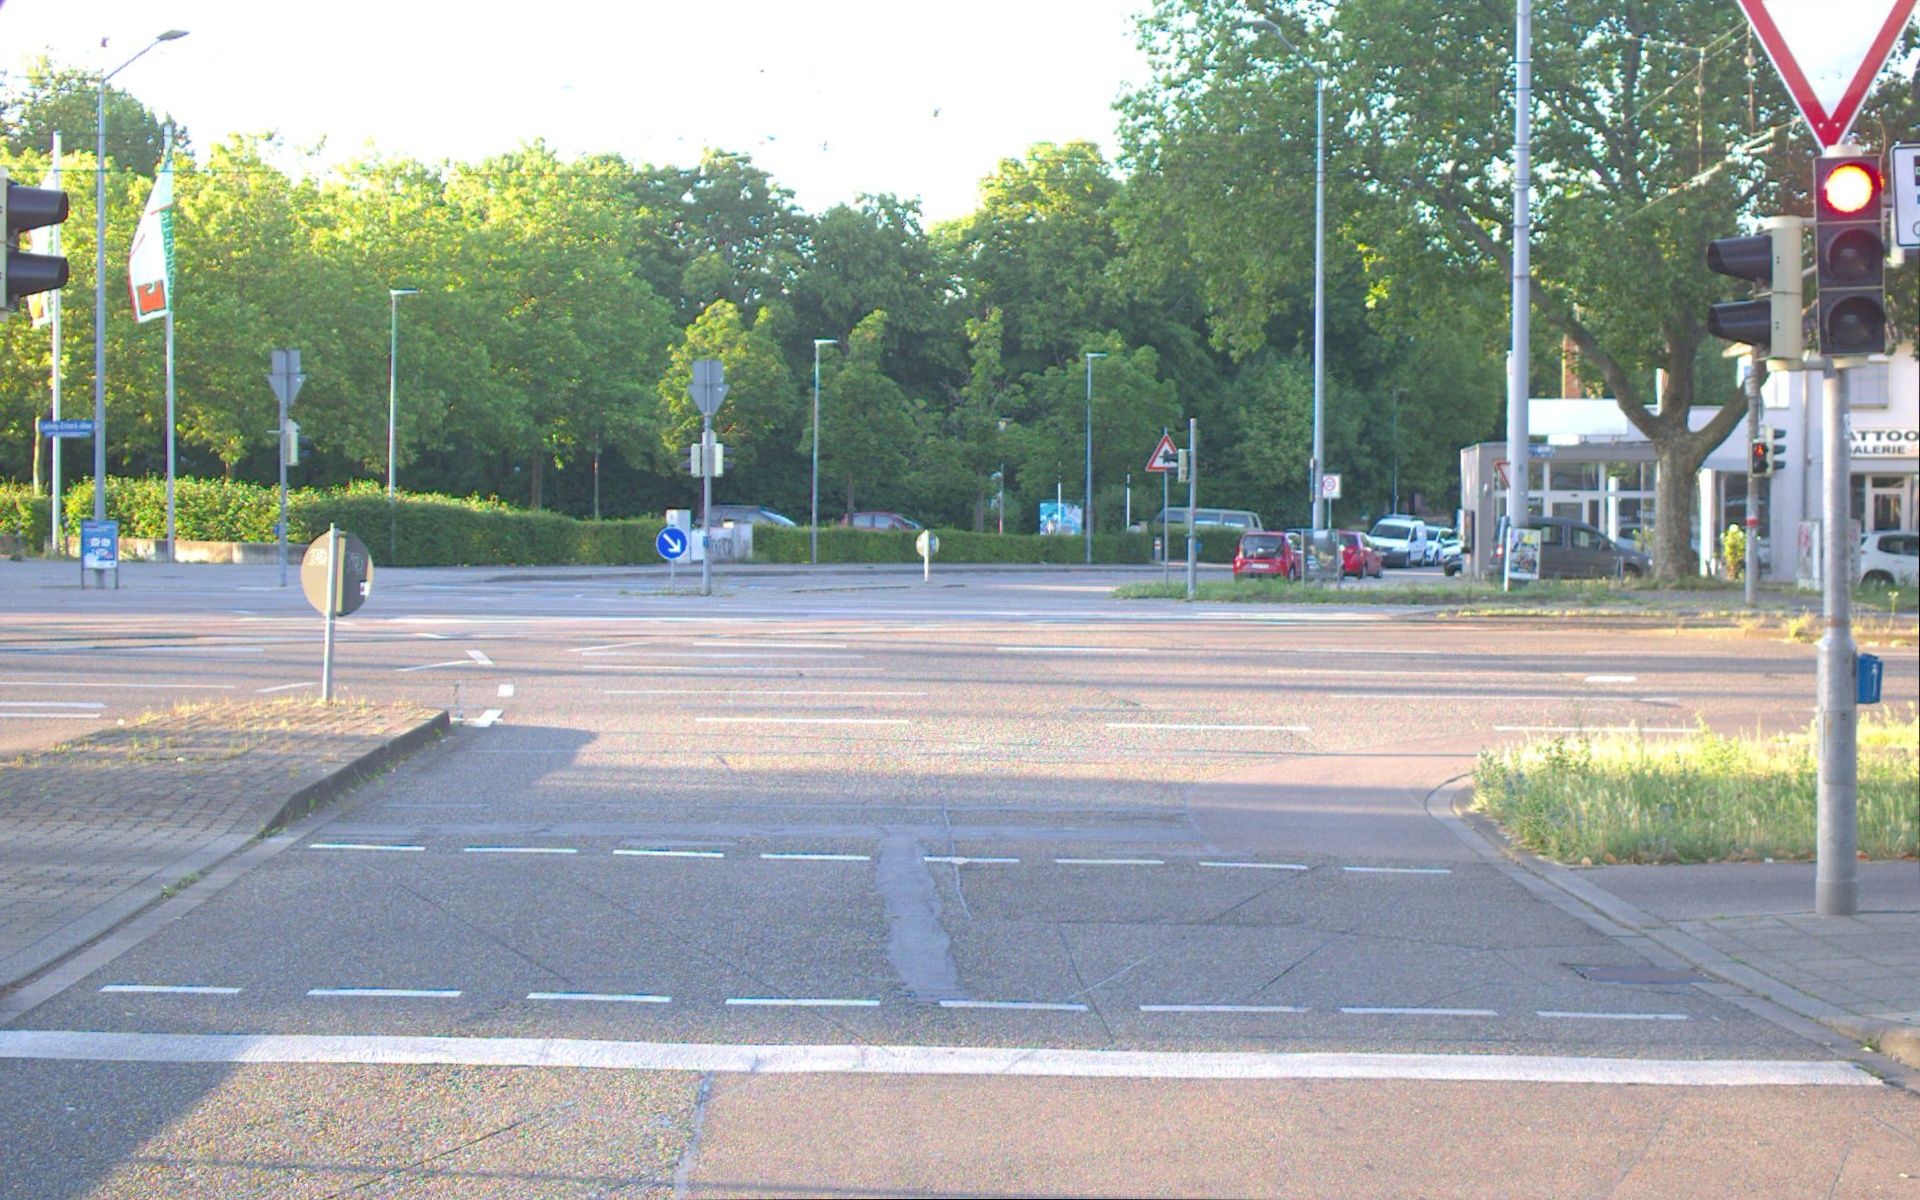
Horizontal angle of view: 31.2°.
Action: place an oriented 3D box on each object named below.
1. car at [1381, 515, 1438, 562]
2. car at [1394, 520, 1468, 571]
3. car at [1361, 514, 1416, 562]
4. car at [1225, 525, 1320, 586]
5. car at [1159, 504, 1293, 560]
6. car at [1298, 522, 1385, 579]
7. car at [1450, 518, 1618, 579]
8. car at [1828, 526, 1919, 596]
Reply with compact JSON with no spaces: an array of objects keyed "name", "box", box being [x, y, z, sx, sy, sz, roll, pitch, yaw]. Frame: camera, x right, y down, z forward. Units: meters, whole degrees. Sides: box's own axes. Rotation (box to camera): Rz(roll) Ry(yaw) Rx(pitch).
[{"name":"car","box":[17.809,-2.432,136.100,1.864,1.788,3.998,1,0,12]},{"name":"car","box":[15.857,-1.828,115.615,1.995,1.656,3.997,1,0,15]},{"name":"car","box":[16.356,-2.363,131.206,1.864,1.788,3.998,1,0,10]},{"name":"car","box":[8.719,-1.224,95.702,1.995,1.656,3.997,1,0,15]},{"name":"car","box":[9.714,-2.486,125.888,4.774,1.999,2.000,0,0,2]},{"name":"car","box":[11.496,-1.473,103.389,1.995,1.656,3.997,1,0,15]},{"name":"car","box":[14.857,-1.331,89.185,4.220,1.547,1.999,1,0,7]},{"name":"car","box":[20.257,-0.810,72.278,3.741,1.435,1.663,1,0,9]}]
